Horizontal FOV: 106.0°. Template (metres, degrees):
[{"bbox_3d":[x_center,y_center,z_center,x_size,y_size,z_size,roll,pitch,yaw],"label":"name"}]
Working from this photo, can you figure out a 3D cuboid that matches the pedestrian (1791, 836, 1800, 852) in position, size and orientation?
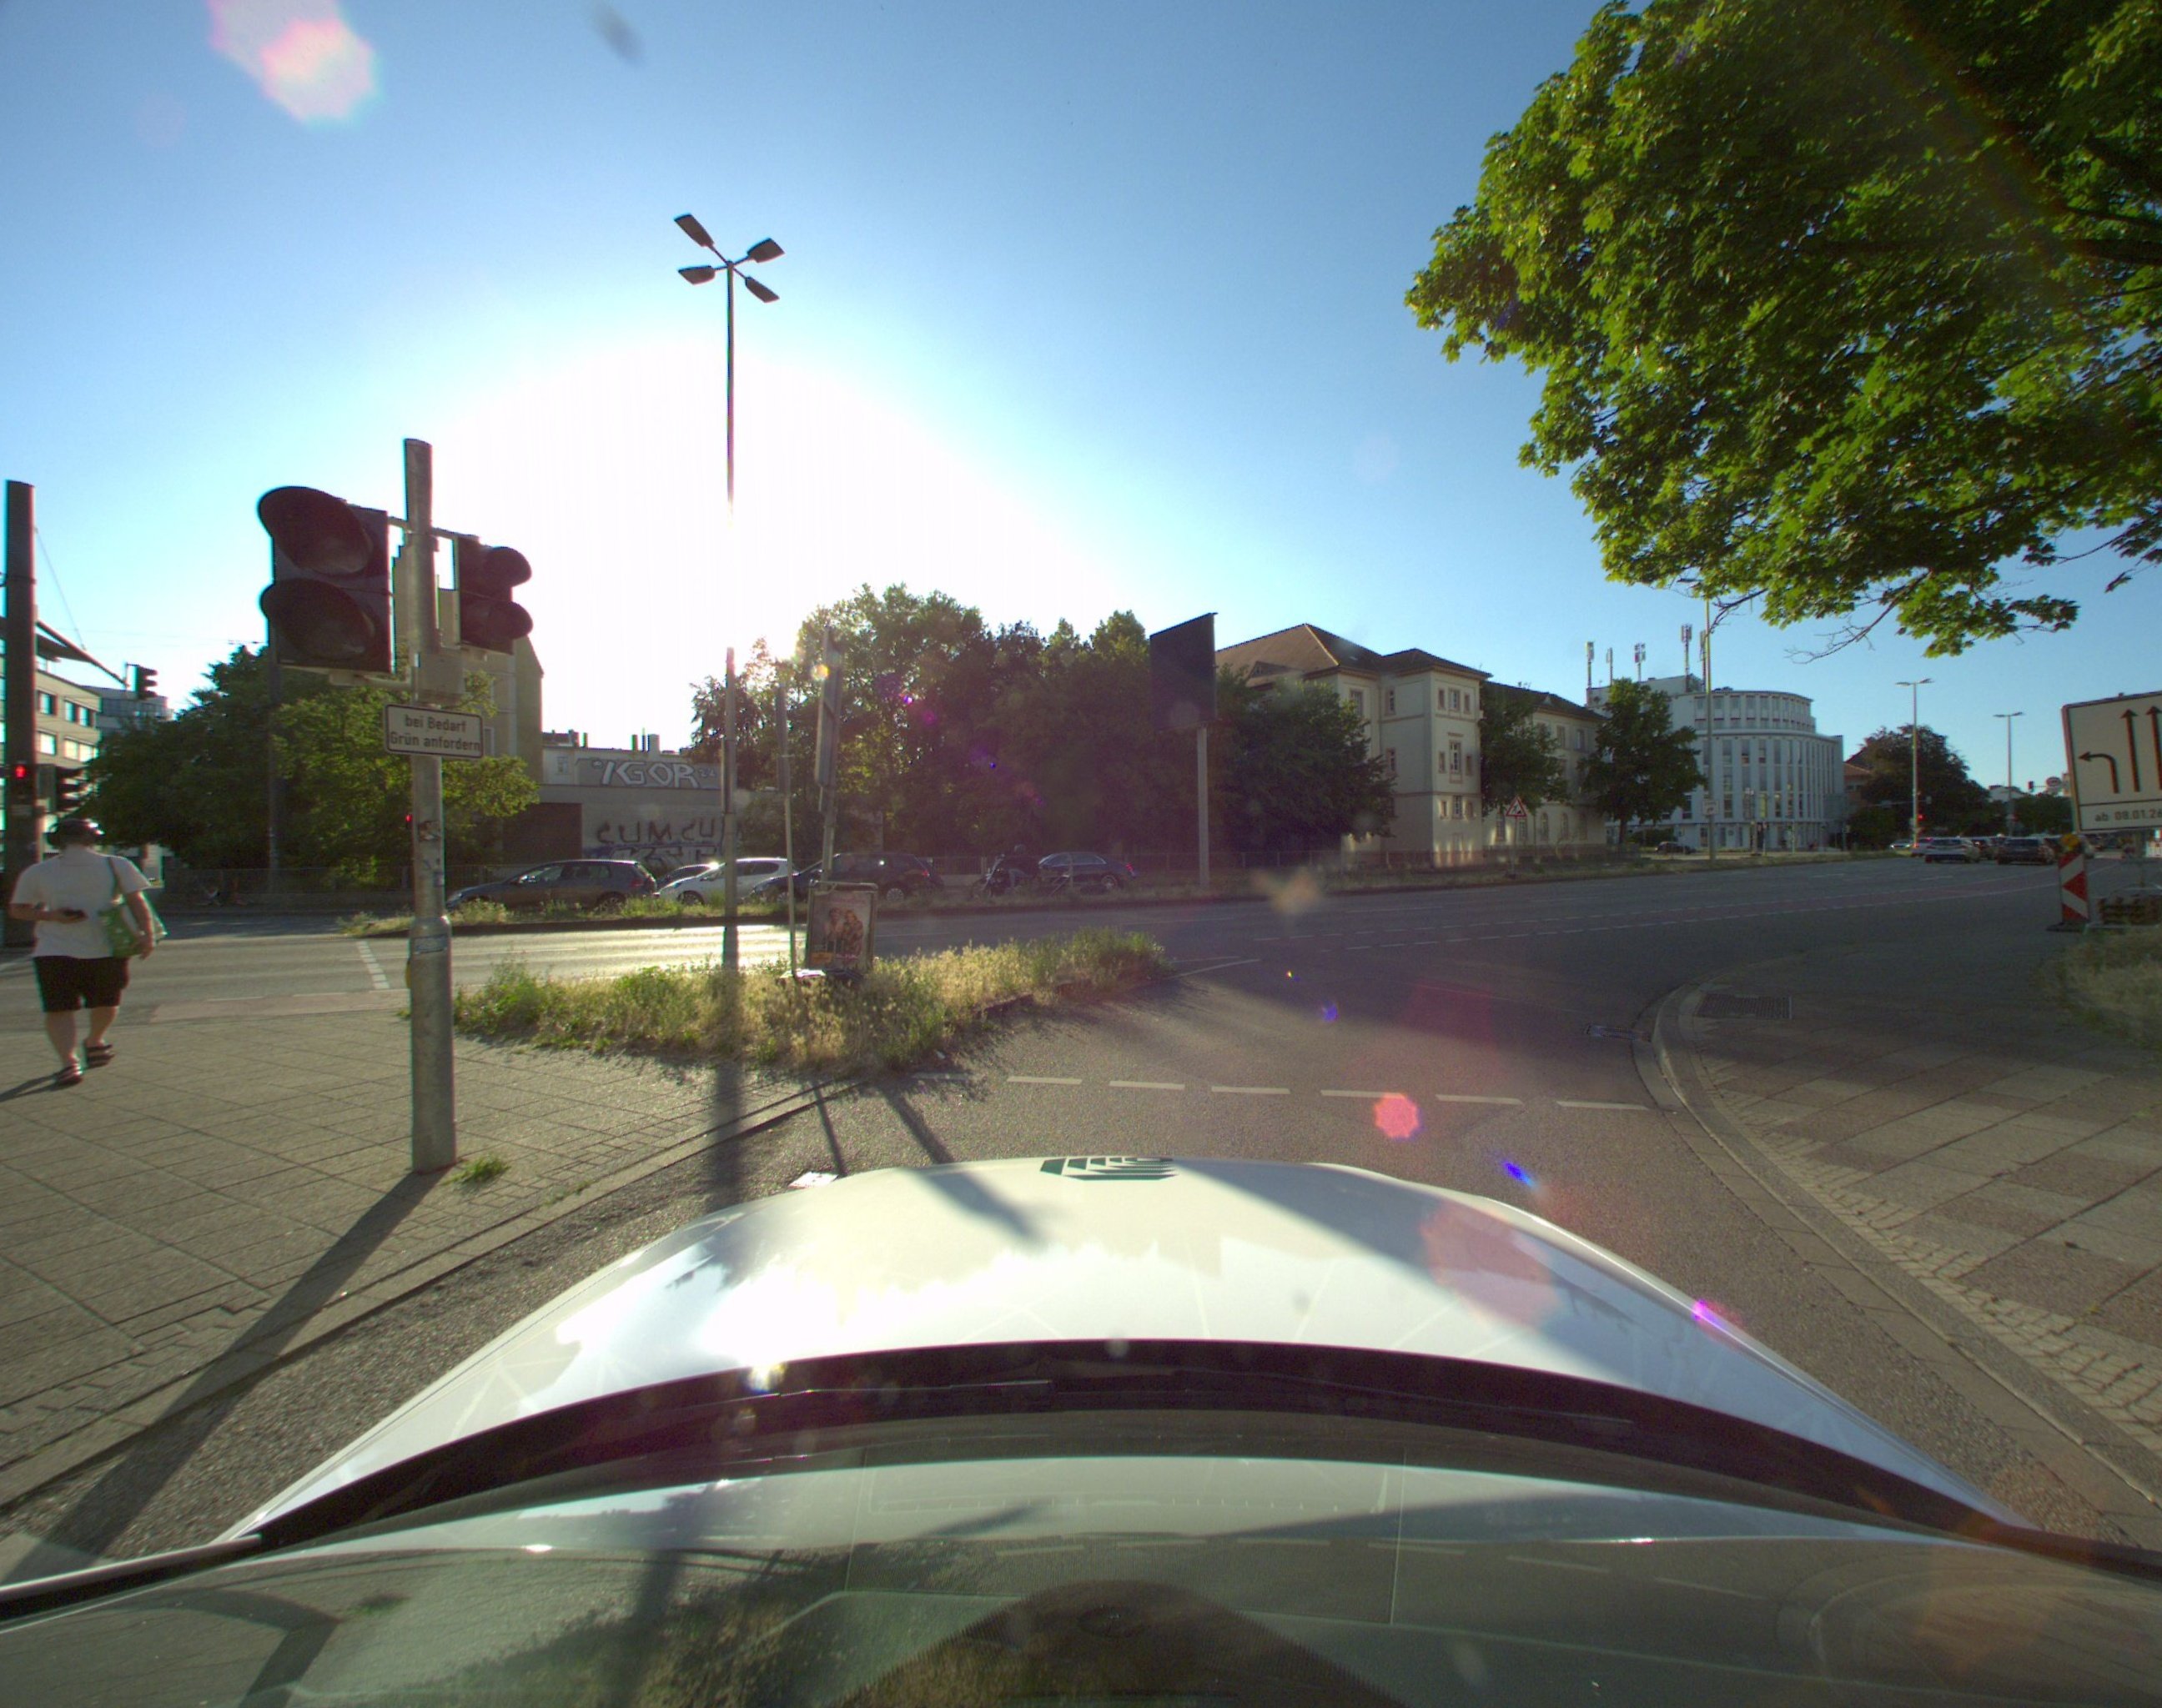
[{"bbox_3d":[83.708,-1.156,95.366,0.751,1.842,0.823,-1,0,44],"label":"pedestrian"}]

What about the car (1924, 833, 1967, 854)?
[{"bbox_3d":[63.194,-0.795,59.507,4.017,1.456,1.672,-1,1,-36],"label":"car"}]

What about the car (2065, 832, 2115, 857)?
[{"bbox_3d":[65.480,-0.610,52.839,3.737,1.579,1.715,-1,0,-34],"label":"car"}]

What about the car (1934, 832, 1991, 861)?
[{"bbox_3d":[50.404,-0.449,46.543,4.067,1.564,1.735,-1,0,-36],"label":"car"}]

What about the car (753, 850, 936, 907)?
[{"bbox_3d":[-6.077,0.598,21.096,4.376,1.296,1.713,-1,0,-20],"label":"car"}]

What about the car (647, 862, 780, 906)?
[{"bbox_3d":[-12.123,0.945,27.133,3.897,1.296,1.712,-1,0,-22],"label":"car"}]

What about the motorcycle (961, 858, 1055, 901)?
[{"bbox_3d":[-2.029,0.691,22.604,2.470,1.108,0.856,-1,0,-20],"label":"motorcycle"}]

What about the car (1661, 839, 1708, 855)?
[{"bbox_3d":[66.603,-0.763,89.877,1.872,1.530,3.776,1,-3,-39],"label":"car"}]

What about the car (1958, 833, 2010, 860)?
[{"bbox_3d":[56.015,-0.480,50.504,4.067,1.564,1.735,-1,0,-36],"label":"car"}]

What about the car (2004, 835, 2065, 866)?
[{"bbox_3d":[50.559,-0.181,43.163,4.067,1.564,1.735,-1,0,-36],"label":"car"}]

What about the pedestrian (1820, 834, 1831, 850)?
[{"bbox_3d":[85.573,-1.375,93.596,1.131,1.868,0.622,-1,0,-31],"label":"pedestrian"}]

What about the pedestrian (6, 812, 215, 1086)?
[{"bbox_3d":[-6.987,0.617,5.928,0.817,1.789,0.917,-1,0,43],"label":"pedestrian"}]

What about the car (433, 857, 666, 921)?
[{"bbox_3d":[-12.258,0.773,19.103,4.246,1.296,1.714,-1,0,-18],"label":"car"}]

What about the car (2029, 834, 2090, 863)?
[{"bbox_3d":[55.077,-0.259,45.824,3.737,1.490,1.743,1,-3,-34],"label":"car"}]

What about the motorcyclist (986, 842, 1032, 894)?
[{"bbox_3d":[-2.009,0.388,22.636,1.061,1.398,0.849,-1,0,-19],"label":"motorcyclist"}]

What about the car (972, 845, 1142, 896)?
[{"bbox_3d":[-0.767,0.497,26.970,5.301,1.496,1.983,-1,0,-26],"label":"car"}]

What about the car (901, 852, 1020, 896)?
[{"bbox_3d":[-4.485,0.702,30.394,4.008,1.464,1.844,-1,0,-26],"label":"car"}]

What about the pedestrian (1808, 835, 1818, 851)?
[{"bbox_3d":[84.983,-1.260,94.549,0.782,1.868,0.654,-1,0,-38],"label":"pedestrian"}]

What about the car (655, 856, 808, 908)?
[{"bbox_3d":[-10.010,0.764,23.565,3.897,1.319,1.712,-1,0,-22],"label":"car"}]

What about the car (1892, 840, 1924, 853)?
[{"bbox_3d":[97.776,-0.894,96.277,4.462,1.413,1.978,-1,-1,-35],"label":"car"}]

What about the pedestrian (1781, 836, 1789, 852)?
[{"bbox_3d":[83.109,-1.138,96.084,0.654,1.859,0.783,-1,0,42],"label":"pedestrian"}]
